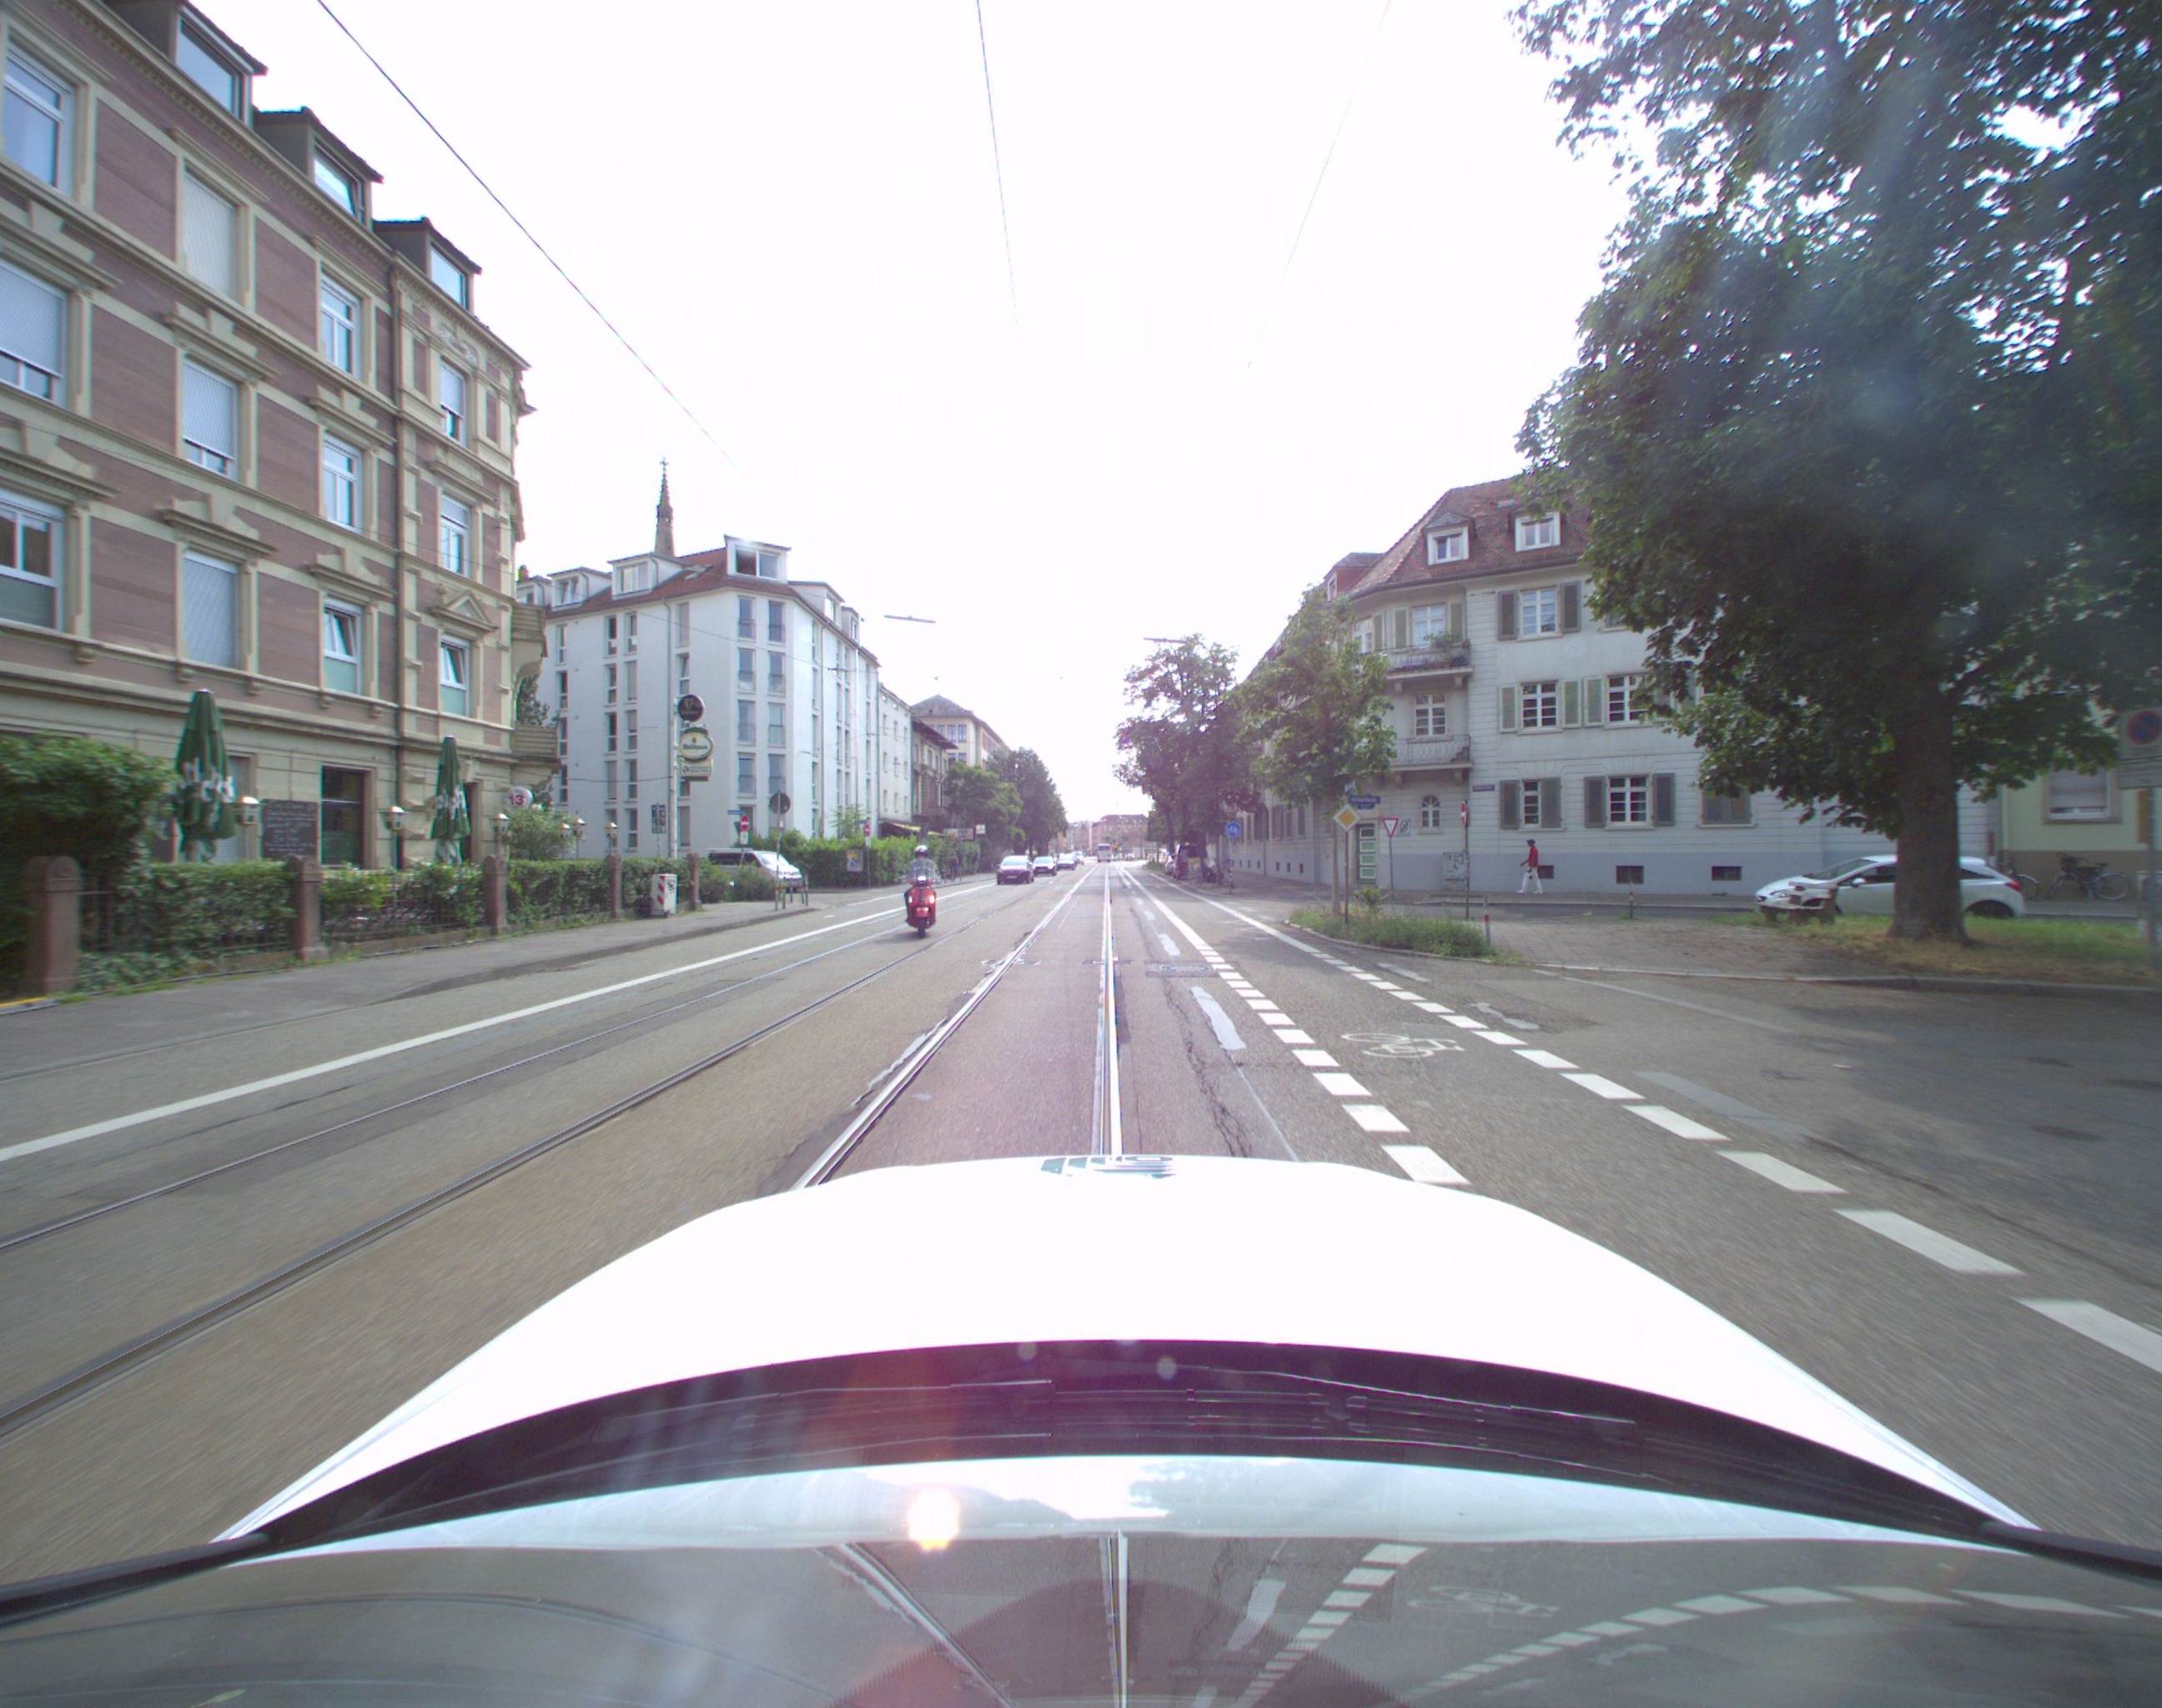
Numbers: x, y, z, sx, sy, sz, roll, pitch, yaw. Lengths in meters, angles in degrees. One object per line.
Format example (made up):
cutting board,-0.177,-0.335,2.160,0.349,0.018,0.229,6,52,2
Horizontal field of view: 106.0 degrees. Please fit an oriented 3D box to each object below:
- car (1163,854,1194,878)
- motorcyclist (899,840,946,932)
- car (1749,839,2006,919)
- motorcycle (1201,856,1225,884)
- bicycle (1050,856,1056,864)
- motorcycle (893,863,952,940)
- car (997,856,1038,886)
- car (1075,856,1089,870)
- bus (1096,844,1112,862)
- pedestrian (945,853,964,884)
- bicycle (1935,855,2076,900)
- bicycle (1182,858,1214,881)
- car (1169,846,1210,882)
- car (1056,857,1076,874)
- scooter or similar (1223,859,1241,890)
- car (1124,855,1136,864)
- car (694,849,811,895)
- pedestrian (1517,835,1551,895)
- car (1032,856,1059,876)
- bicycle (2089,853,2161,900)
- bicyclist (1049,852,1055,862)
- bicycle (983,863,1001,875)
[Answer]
car,6.610,0.788,55.678,1.700,1.498,4.790,-1,0,2
motorcyclist,-3.035,0.599,15.695,0.737,1.714,0.920,-1,0,-2
car,16.754,0.496,17.390,3.574,1.498,1.742,-1,2,28
motorcycle,6.453,0.758,39.954,0.854,1.321,2.446,-1,0,3
bicycle,-4.246,0.902,122.126,0.600,1.097,2.025,-6,0,4
motorcycle,-3.036,0.876,15.769,0.737,1.360,2.088,-1,0,0
car,-3.315,0.864,42.991,1.587,1.440,3.940,-2,0,3
car,0.210,1.291,117.157,1.891,1.907,5.384,-1,0,0
bus,4.372,-0.097,154.723,2.907,3.328,12.208,0,-1,1
pedestrian,-7.995,0.935,51.450,1.055,1.917,0.830,-1,-1,3
bicycle,25.047,0.624,22.130,2.485,1.147,0.686,-1,3,22
bicycle,6.231,0.804,43.510,1.605,1.203,0.589,-1,-1,-2
car,6.241,0.552,47.317,1.888,1.941,4.952,-1,0,2
car,-1.461,1.094,80.284,1.721,1.540,4.277,-2,0,1
scooter or similar,6.450,0.858,34.843,0.530,1.251,1.721,-1,0,3
car,9.951,1.129,165.747,2.118,1.684,4.112,1,1,8
car,-14.934,0.819,37.036,4.886,2.014,2.061,-1,0,23
pedestrian,15.101,0.369,27.167,0.965,1.937,0.907,0,-1,28
car,-2.488,0.826,58.038,1.622,1.407,4.131,0,0,2
bicycle,27.971,0.569,20.983,2.485,1.147,0.686,-1,3,22
bicyclist,-4.301,0.467,122.072,0.596,1.492,0.883,-6,0,4
bicycle,-7.863,1.309,71.994,1.138,0.909,2.990,2,0,2
